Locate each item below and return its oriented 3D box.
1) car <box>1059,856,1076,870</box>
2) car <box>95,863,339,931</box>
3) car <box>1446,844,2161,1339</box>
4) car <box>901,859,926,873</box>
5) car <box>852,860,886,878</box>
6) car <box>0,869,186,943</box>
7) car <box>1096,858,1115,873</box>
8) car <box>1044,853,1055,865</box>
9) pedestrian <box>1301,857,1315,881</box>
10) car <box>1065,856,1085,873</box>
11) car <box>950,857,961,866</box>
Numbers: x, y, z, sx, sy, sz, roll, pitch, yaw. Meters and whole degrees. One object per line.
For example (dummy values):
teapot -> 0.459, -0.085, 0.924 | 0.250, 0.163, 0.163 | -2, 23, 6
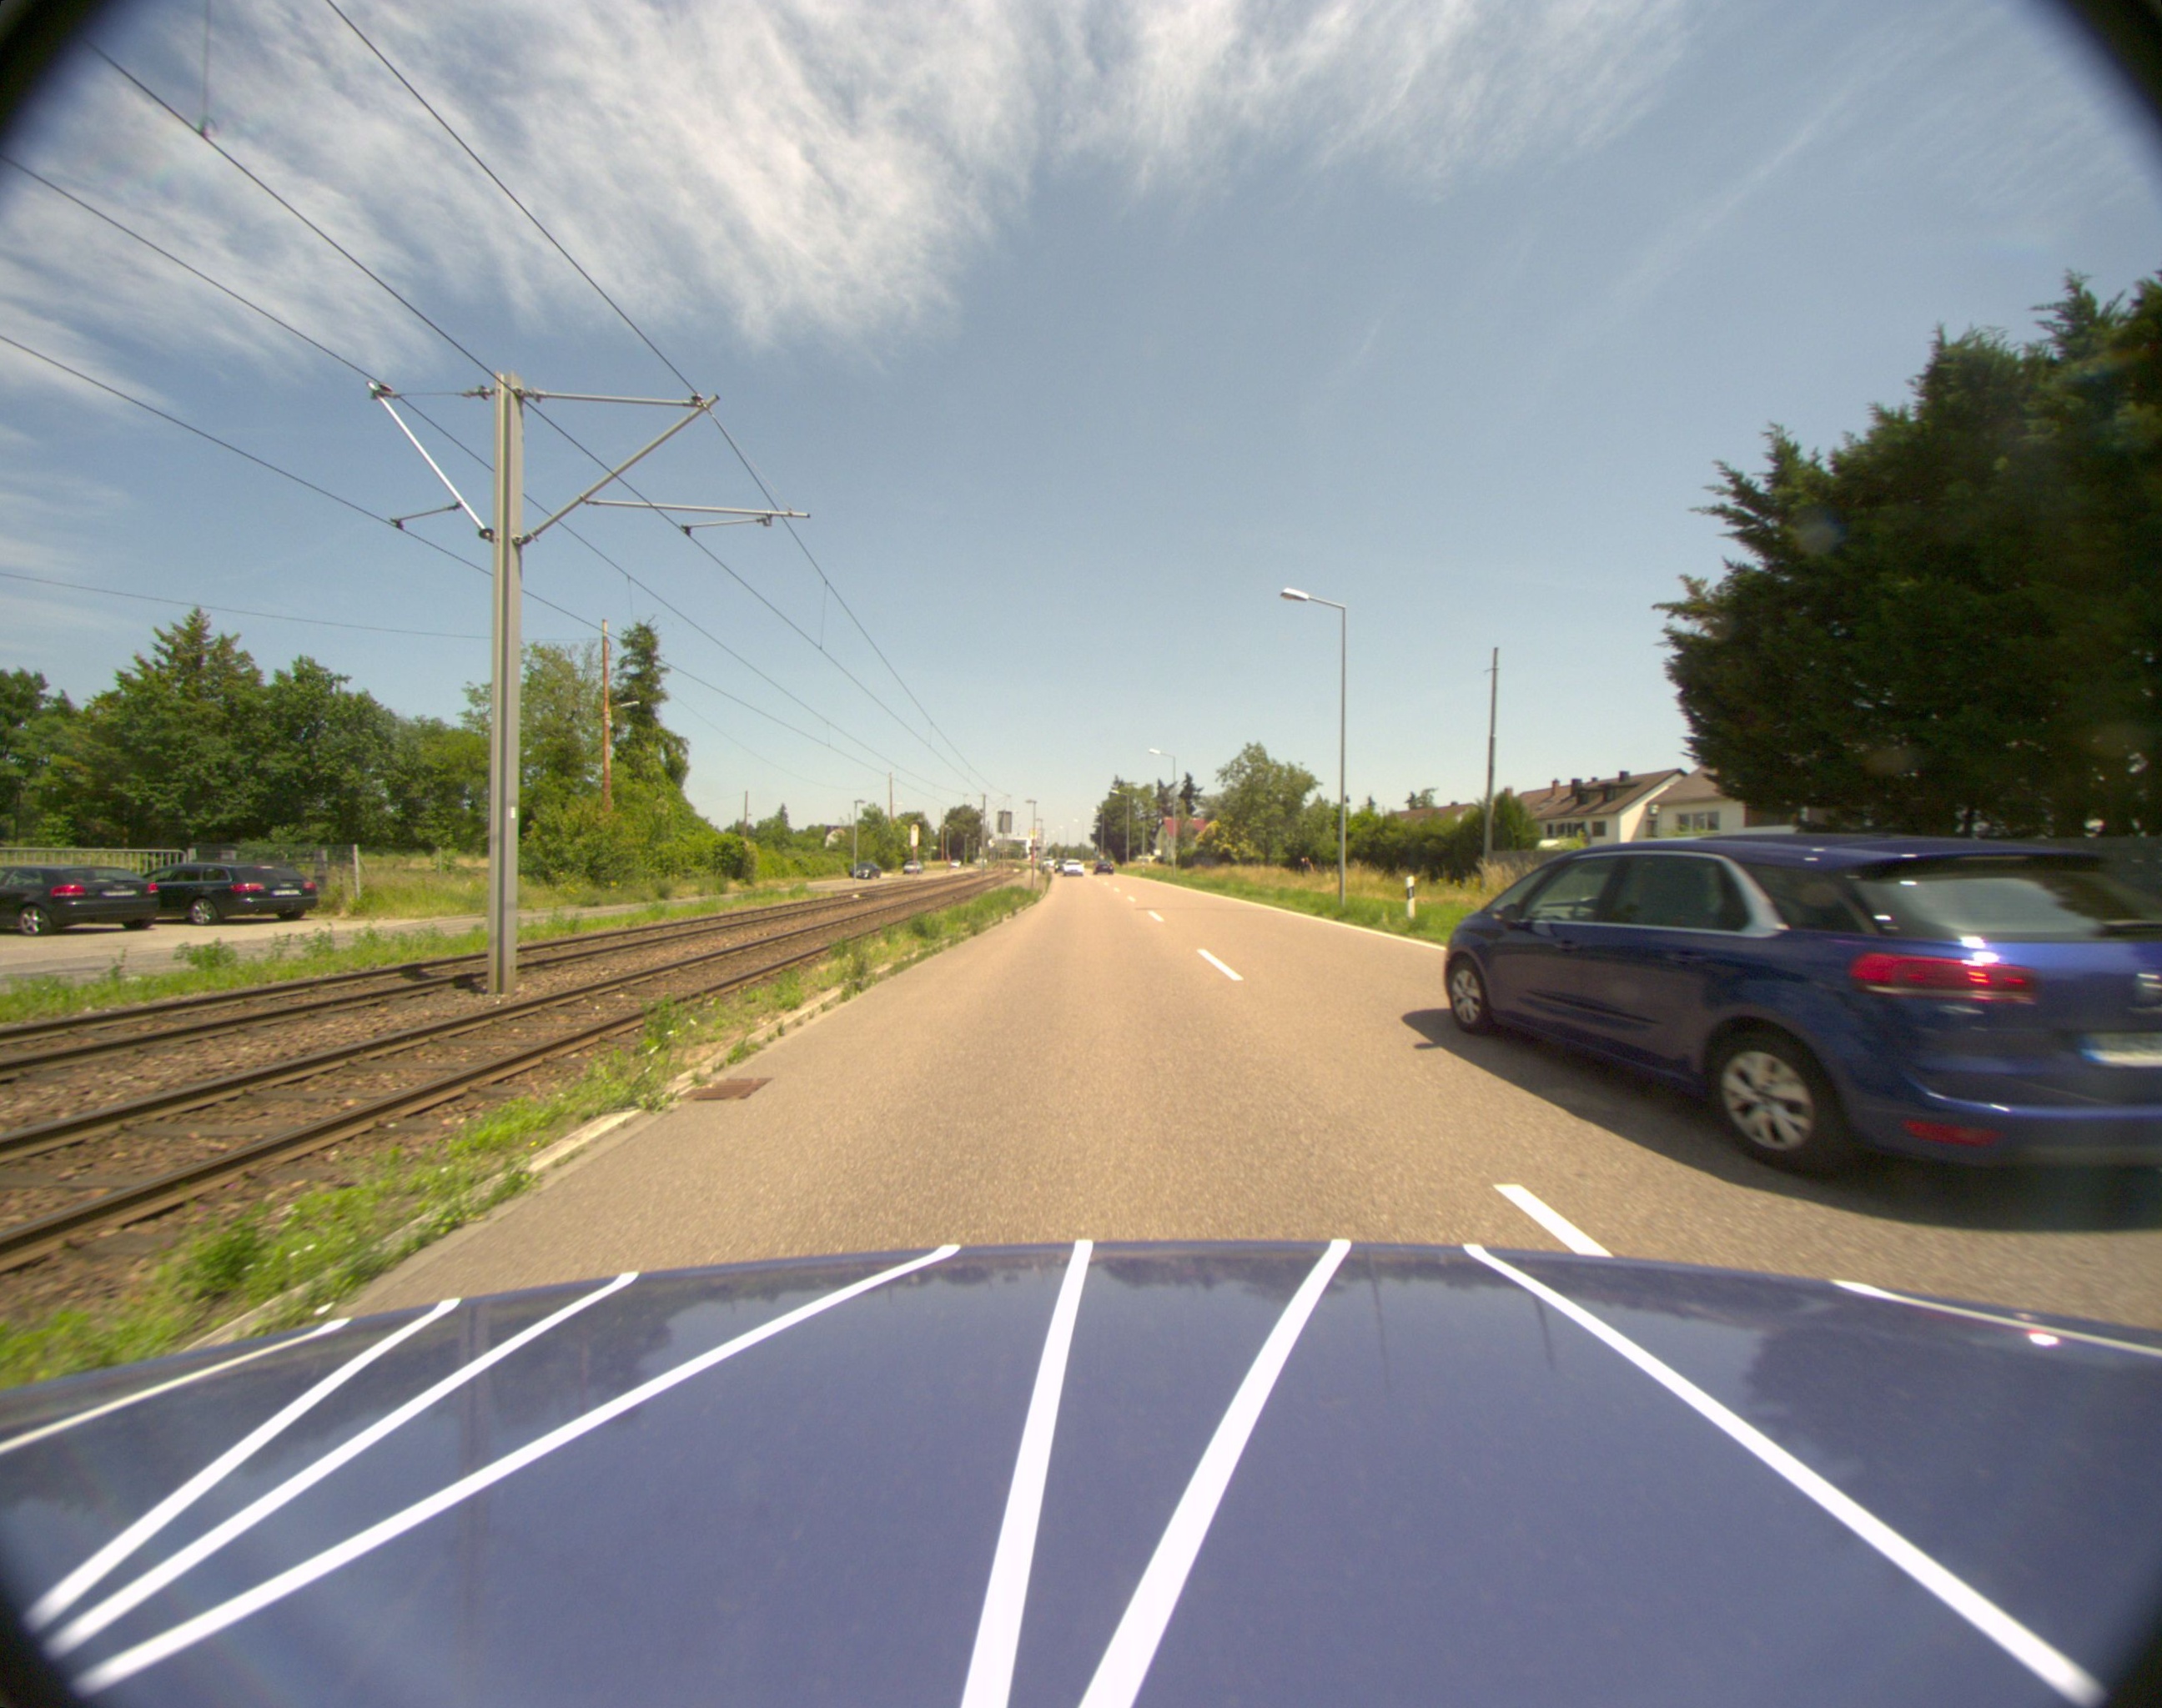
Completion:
car -> -1.538, 1.055, 87.704 | 1.999, 1.576, 4.000 | -1, 0, 0
car -> -20.858, 1.008, 18.458 | 3.995, 1.508, 1.900 | -1, 0, 5
car -> 4.001, 0.775, 4.509 | 1.751, 1.622, 4.029 | -1, 0, 0
car -> -18.152, 1.271, 82.455 | 1.944, 1.414, 3.999 | -1, 0, -3
car -> -17.757, 1.227, 63.878 | 1.624, 1.414, 4.871 | -1, 0, -2
car -> -21.747, 1.051, 15.910 | 3.736, 1.411, 1.899 | -1, 0, 0
car -> 2.481, 1.160, 77.202 | 1.711, 1.396, 4.707 | -1, 0, 0
car -> -5.551, 0.858, 134.298 | 1.938, 2.002, 3.999 | -1, 0, -2
pedestrian -> 13.678, 0.907, 45.816 | 0.610, 1.469, 0.633 | -1, 0, -1
car -> -0.576, 0.953, 70.945 | 1.856, 1.447, 3.706 | -1, 0, 0
car -> -22.814, 1.345, 138.282 | 1.718, 1.480, 3.999 | -1, 0, -4
